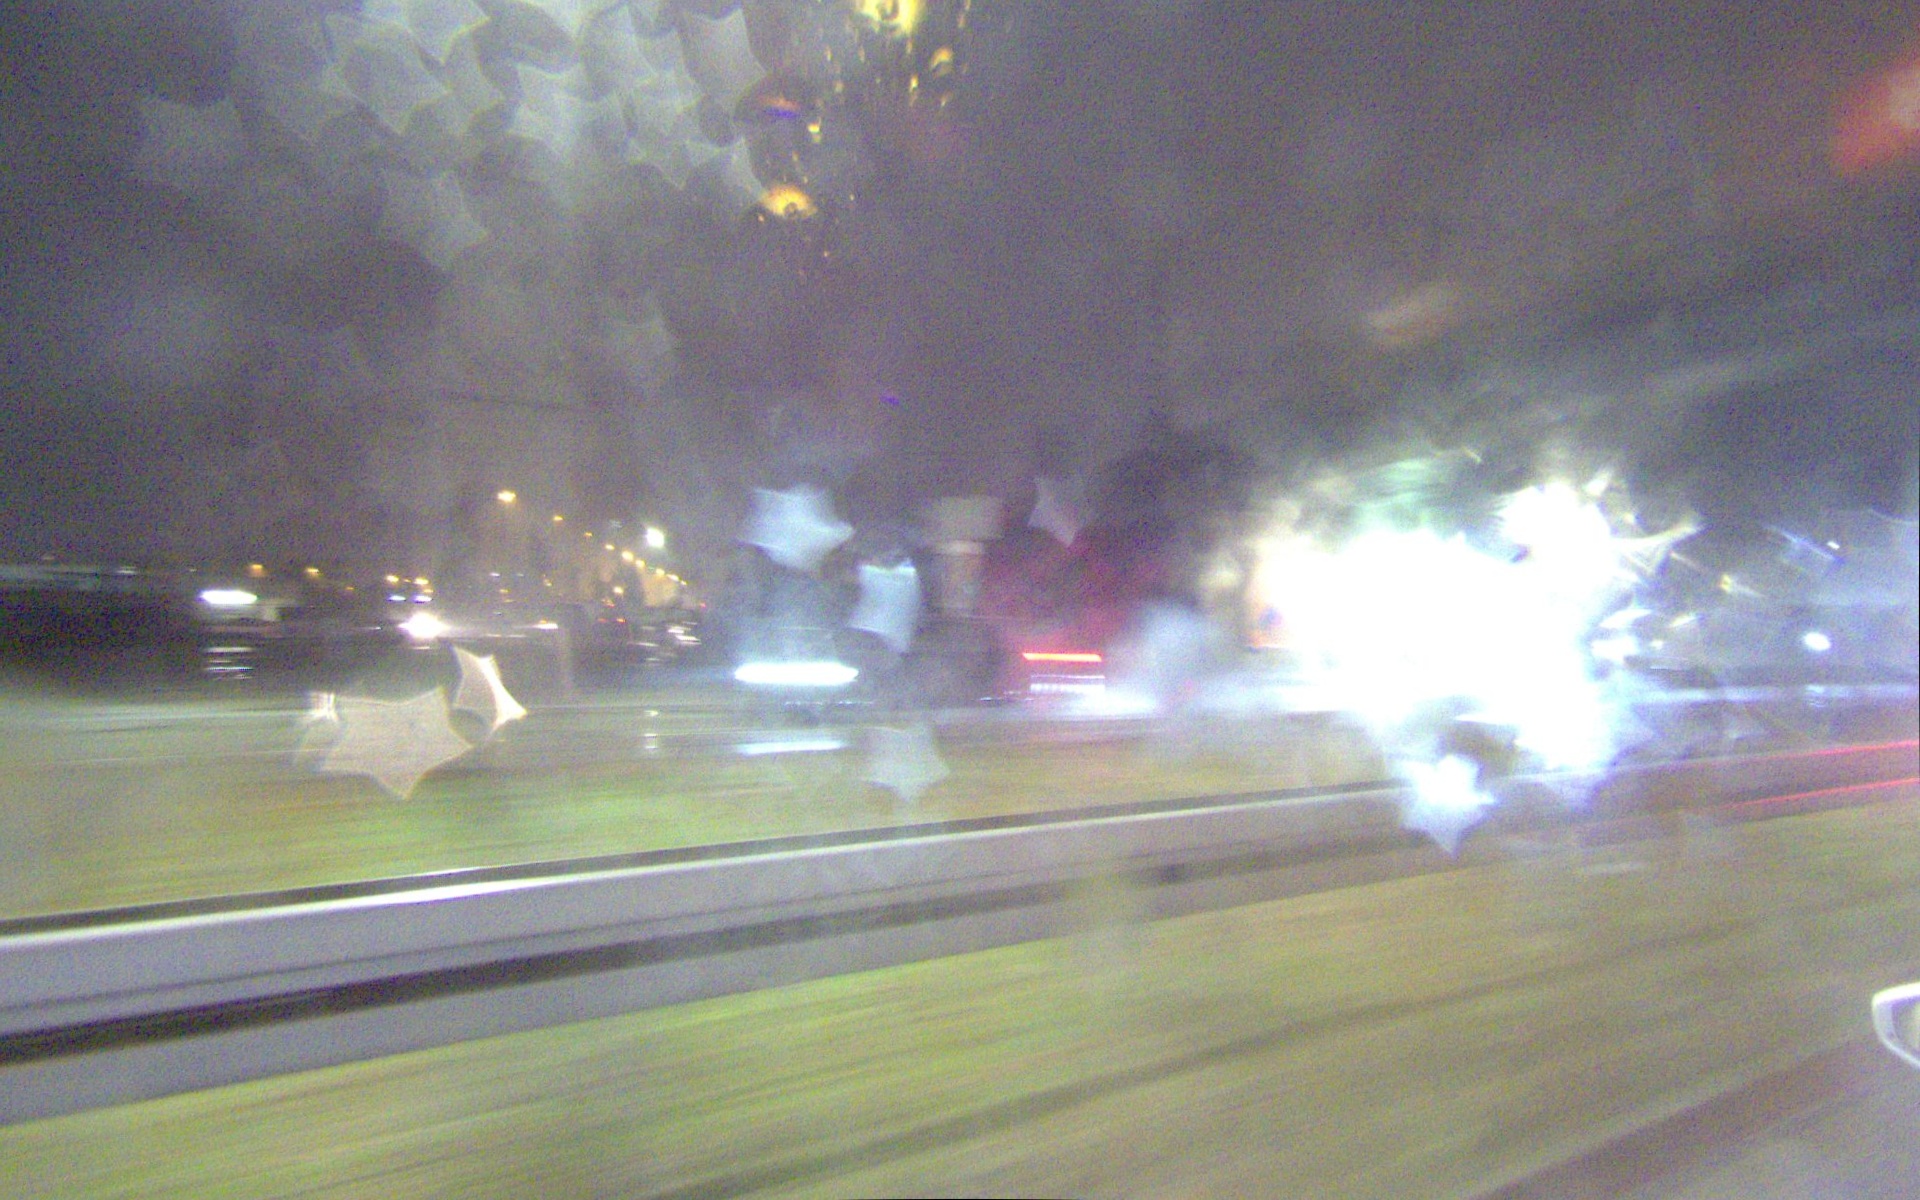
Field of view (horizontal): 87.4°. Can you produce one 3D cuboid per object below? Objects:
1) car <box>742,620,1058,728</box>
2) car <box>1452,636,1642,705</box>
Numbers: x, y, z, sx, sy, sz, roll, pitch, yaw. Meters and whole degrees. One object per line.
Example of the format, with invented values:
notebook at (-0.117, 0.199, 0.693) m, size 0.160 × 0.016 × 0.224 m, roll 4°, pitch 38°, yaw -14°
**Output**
car at (-0.833, 1.012, 14.296) m, size 4.079 × 1.305 × 1.847 m, roll 2°, pitch -1°, yaw -28°
car at (12.733, 1.491, 21.737) m, size 4.085 × 1.305 × 1.845 m, roll 2°, pitch -1°, yaw -31°
